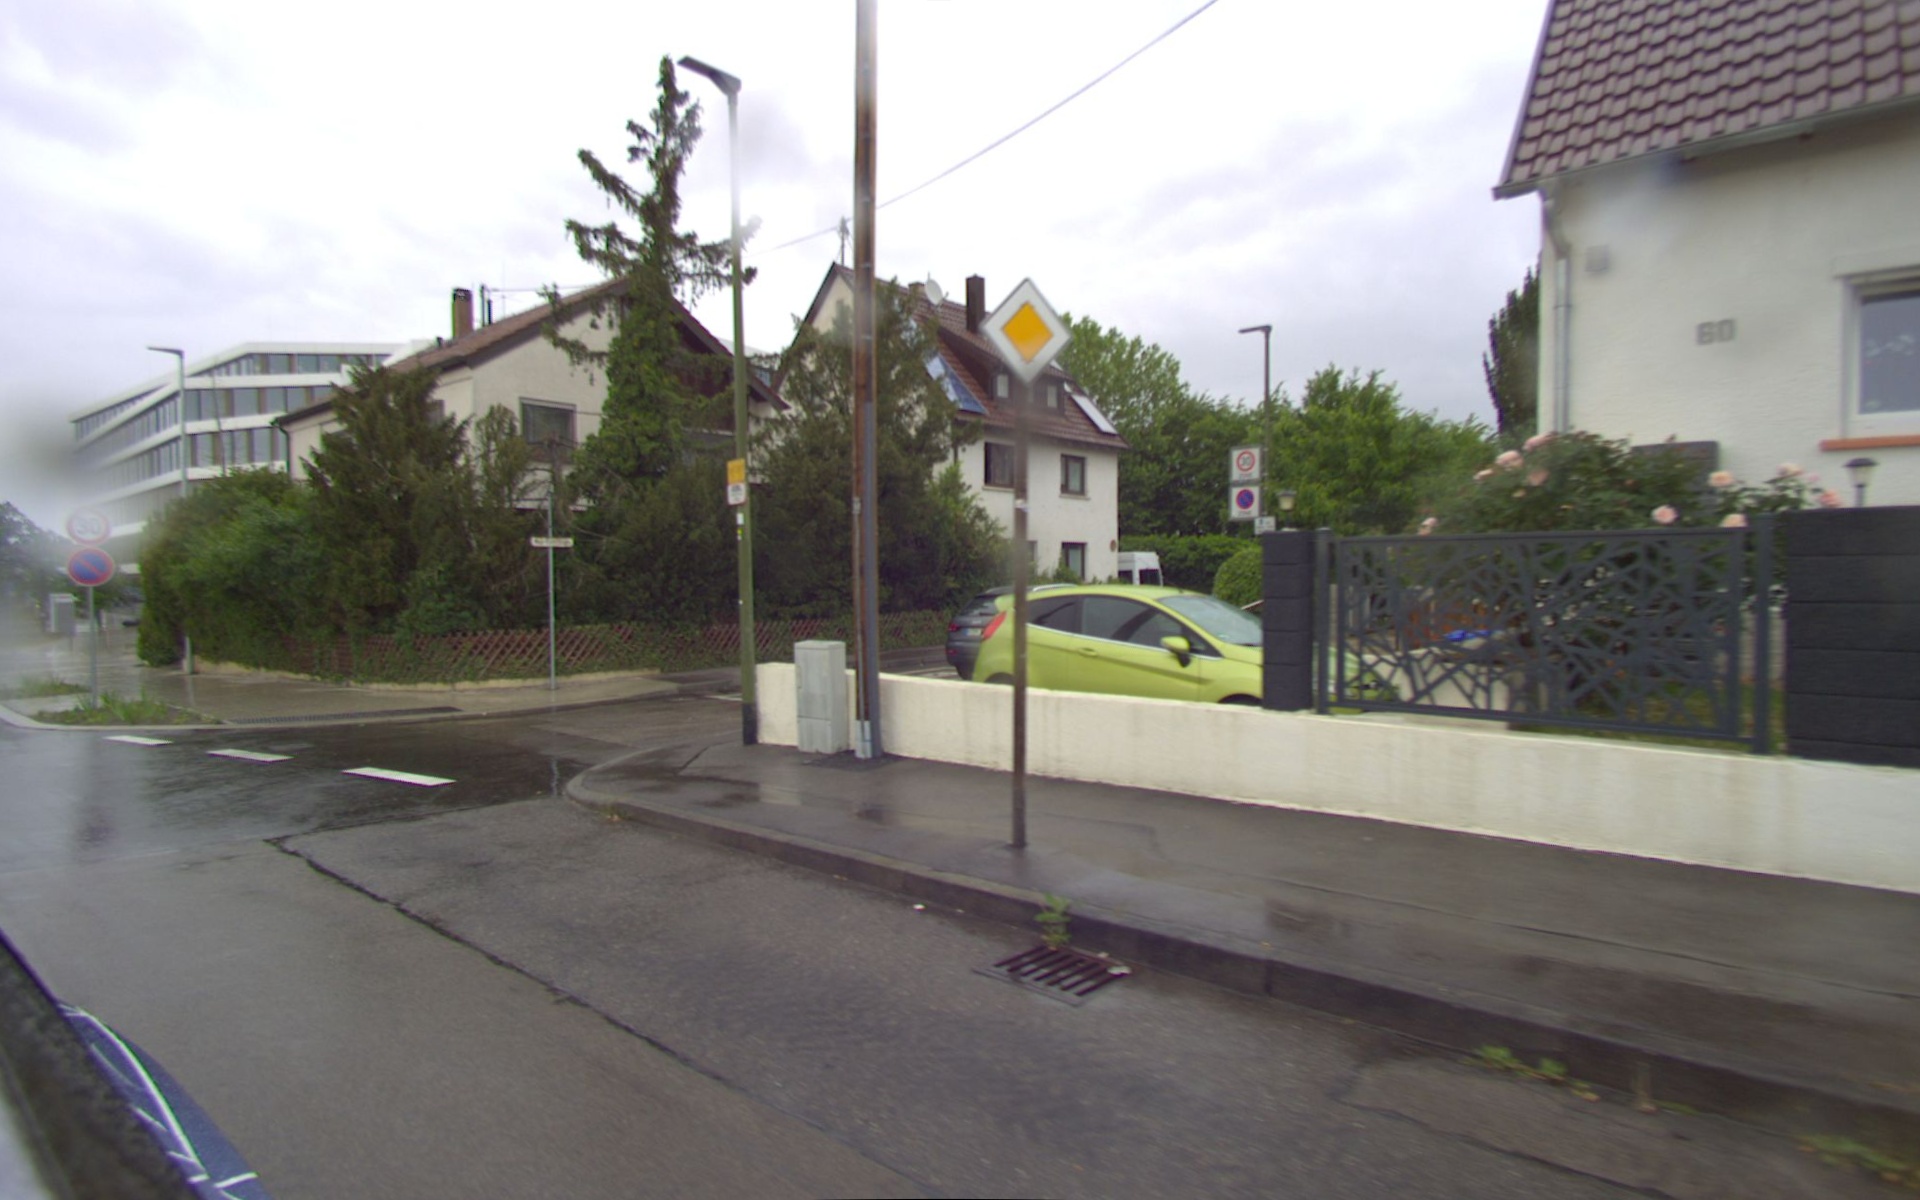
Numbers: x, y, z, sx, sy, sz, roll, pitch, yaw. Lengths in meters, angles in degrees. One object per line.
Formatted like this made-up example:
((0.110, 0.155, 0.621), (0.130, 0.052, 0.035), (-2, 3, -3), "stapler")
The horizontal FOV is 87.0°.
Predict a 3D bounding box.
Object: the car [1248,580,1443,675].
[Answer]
((9.251, 0.613, 24.427), (3.930, 2.028, 1.987), (-1, 2, 41), "car")

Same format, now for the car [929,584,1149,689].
((1.450, 0.568, 17.566), (1.784, 1.478, 3.802), (-2, 1, 43), "car")

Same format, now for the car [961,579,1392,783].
((1.879, 0.577, 9.289), (3.457, 1.478, 1.759), (0, 2, 43), "car")
